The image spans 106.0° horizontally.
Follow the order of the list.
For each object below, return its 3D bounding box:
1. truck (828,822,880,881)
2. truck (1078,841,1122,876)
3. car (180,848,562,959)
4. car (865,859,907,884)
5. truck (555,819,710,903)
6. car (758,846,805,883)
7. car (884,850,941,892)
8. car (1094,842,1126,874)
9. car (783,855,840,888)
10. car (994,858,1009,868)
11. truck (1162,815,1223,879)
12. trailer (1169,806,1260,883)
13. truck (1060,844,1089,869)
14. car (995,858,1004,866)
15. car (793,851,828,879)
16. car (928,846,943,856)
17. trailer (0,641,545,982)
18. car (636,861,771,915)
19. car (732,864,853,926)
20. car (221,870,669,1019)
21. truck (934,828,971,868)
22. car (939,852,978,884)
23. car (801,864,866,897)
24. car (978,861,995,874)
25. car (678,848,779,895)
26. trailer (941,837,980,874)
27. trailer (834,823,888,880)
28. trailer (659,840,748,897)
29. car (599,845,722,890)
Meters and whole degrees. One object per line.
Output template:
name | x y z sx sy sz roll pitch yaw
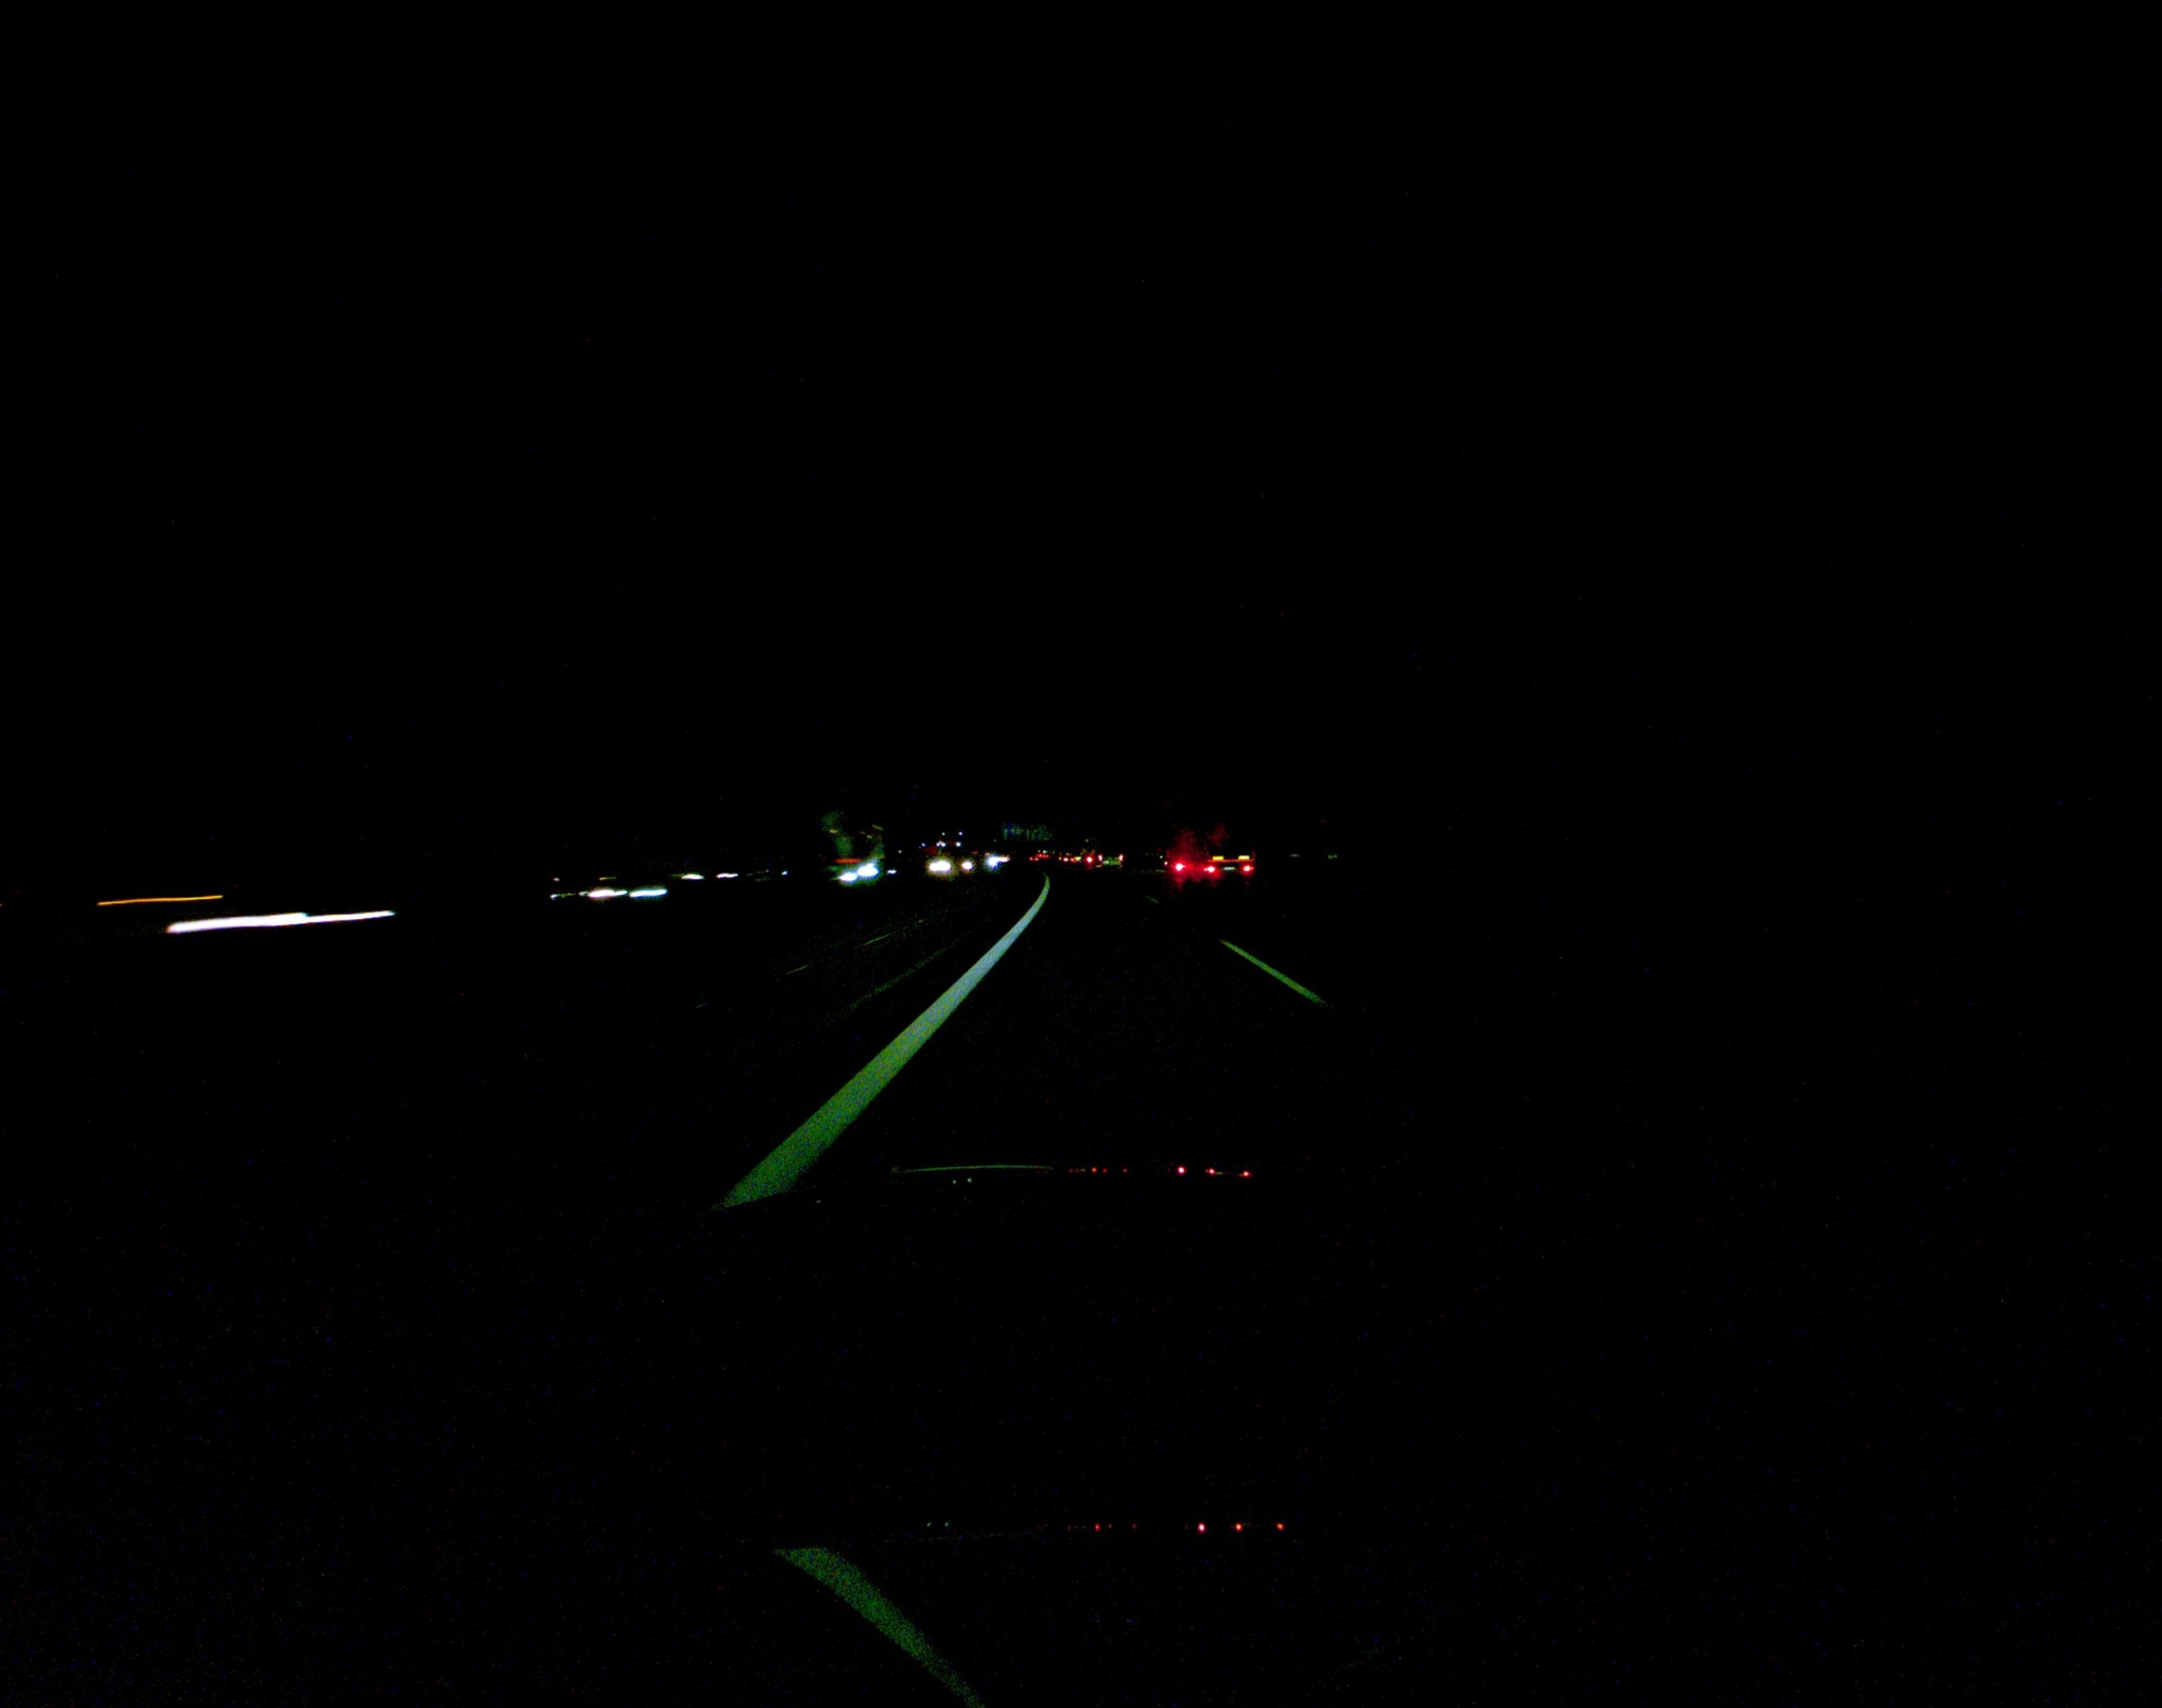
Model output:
truck | -15.696 -0.175 56.607 2.827 3.916 4.920 -1 0 -9
truck | 2.584 0.801 119.955 3.910 4.628 20.973 -1 -1 -6
car | -11.146 0.713 13.441 1.896 1.492 4.869 0 -1 2
car | -11.859 1.073 49.694 1.624 1.350 3.996 3 -2 -2
truck | -19.065 0.282 35.334 2.487 3.218 7.908 0 0 -1
car | -19.905 0.687 54.264 1.992 2.399 4.500 0 -1 -8
car | -8.146 0.818 39.787 1.870 1.923 4.864 0 -1 -1
car | 2.533 0.441 72.351 2.331 2.640 5.241 2 -2 -3
car | -15.822 1.014 48.067 1.988 1.810 4.317 0 -1 -1
car | -11.974 1.351 122.741 1.869 1.426 4.507 1 -1 -3
truck | 7.482 -0.418 55.712 2.855 4.077 7.503 0 0 -2
trailer | 7.721 -0.468 49.383 2.847 4.067 13.192 0 0 -2
truck | -1.370 0.454 160.190 3.343 4.476 13.865 3 -1 -9
car | -14.043 1.368 140.599 1.567 1.354 3.993 -1 0 -4
car | -20.537 0.820 61.992 1.712 2.079 4.500 0 -1 -8
car | -20.771 -0.428 116.178 1.650 1.477 3.769 -1 0 -4
trailer | -15.541 -0.468 14.133 2.831 4.464 14.518 -2 -1 0
car | -11.371 0.994 24.985 1.898 1.492 4.866 0 -1 0
car | -7.697 1.040 22.252 1.621 1.492 4.865 0 -1 -1
car | -7.707 0.968 10.723 1.896 1.492 4.870 0 -1 2
truck | -14.774 -0.597 94.144 3.100 4.098 7.069 3 -2 -2
car | -7.907 0.913 53.109 1.871 1.923 5.599 0 -1 -2
car | -11.777 1.226 39.099 1.900 1.492 4.860 0 -1 -4
car | -10.444 1.495 90.546 1.700 1.426 4.504 0 -1 -5
car | -15.098 0.753 35.244 1.895 1.887 5.025 0 -1 3
trailer | -15.005 0.315 102.278 3.082 4.089 12.438 3 -2 -2
trailer | -16.322 -0.161 60.870 2.819 3.917 8.713 -1 0 -8
trailer | -19.234 0.724 41.825 2.357 2.744 4.988 0 0 -2
car | -14.965 0.483 29.362 1.898 1.492 4.866 0 -1 0
